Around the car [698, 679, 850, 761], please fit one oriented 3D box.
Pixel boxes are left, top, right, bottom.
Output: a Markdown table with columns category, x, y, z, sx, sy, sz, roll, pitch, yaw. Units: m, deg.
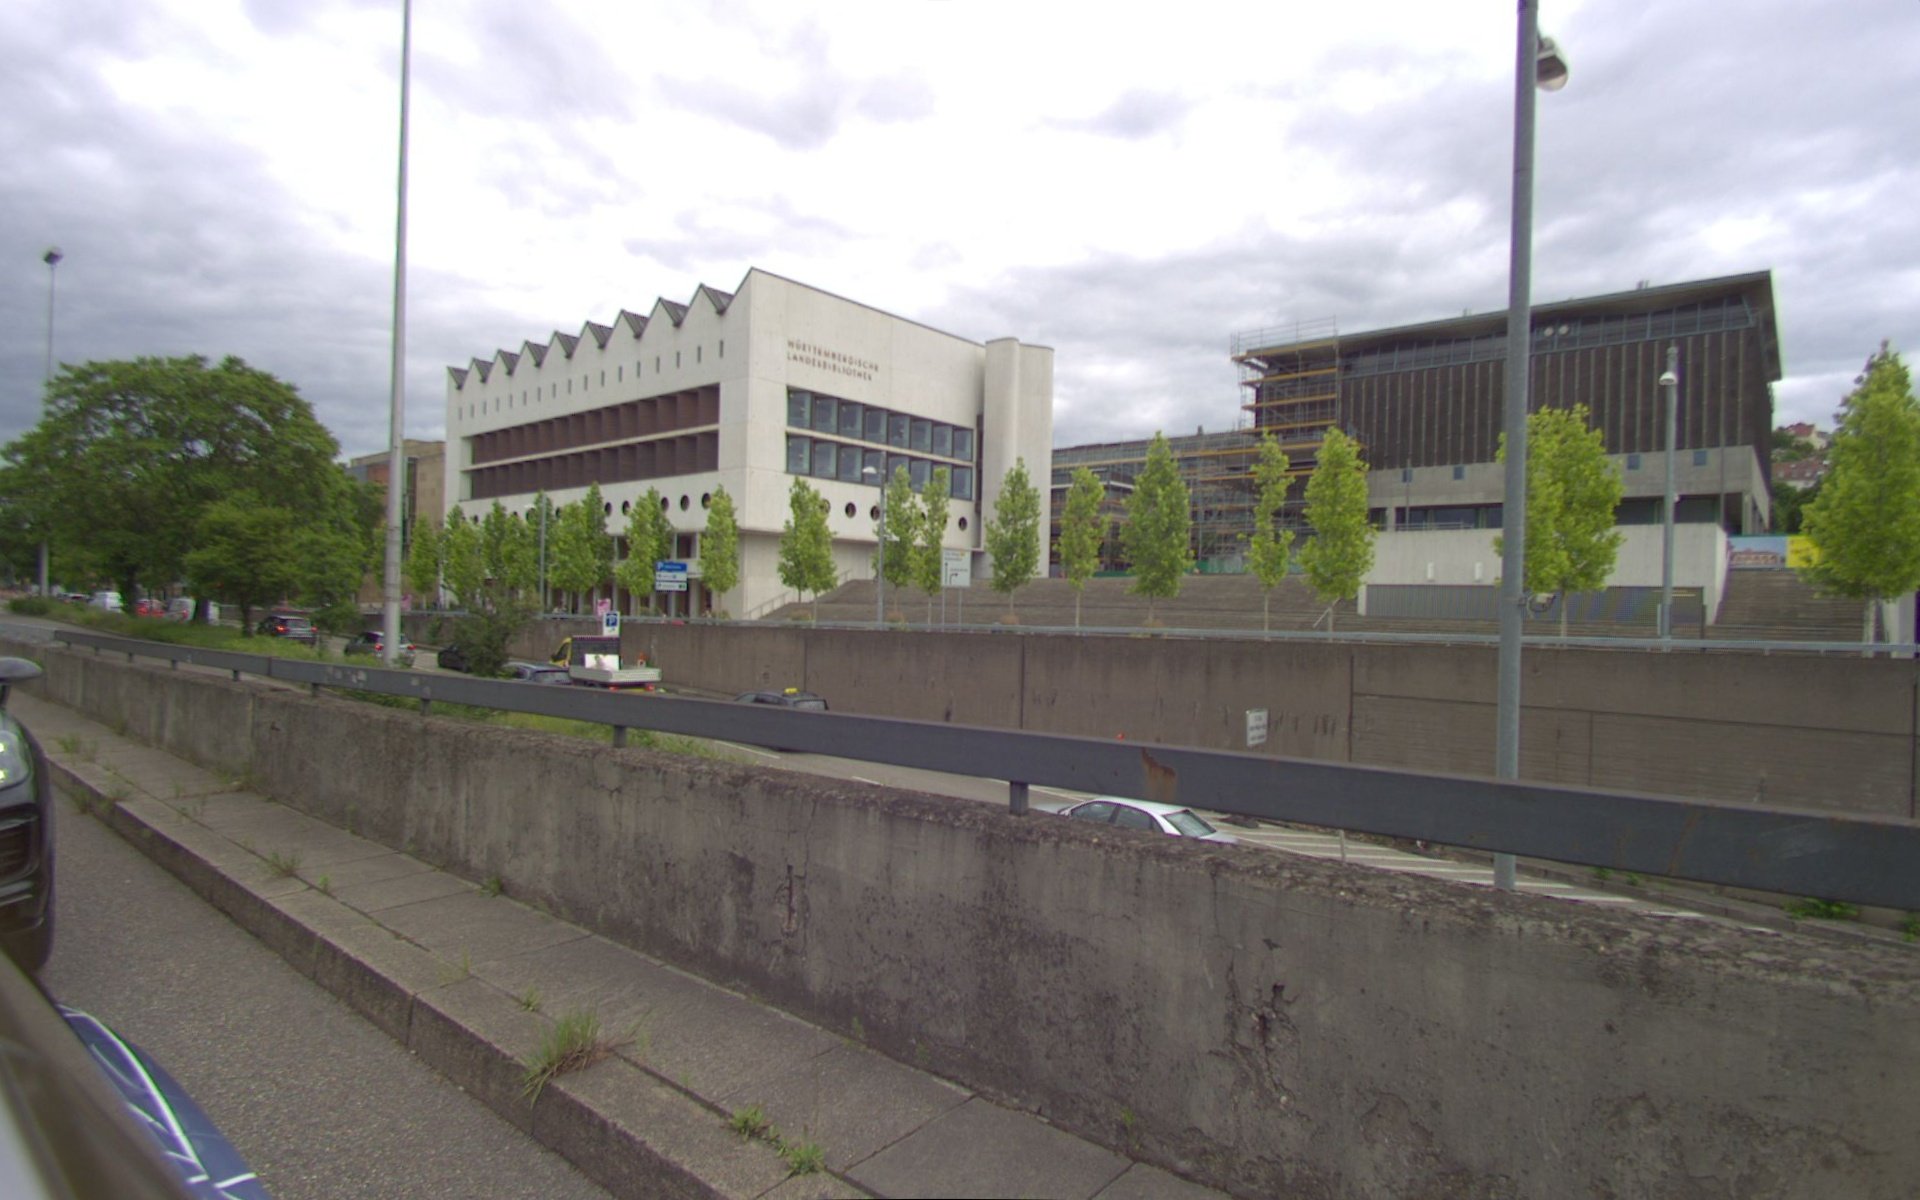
| category | x | y | z | sx | sy | sz | roll | pitch | yaw |
| --- | --- | --- | --- | --- | --- | --- | --- | --- | --- |
| car | -5.643 | 3.524 | 30.422 | 4.393 | 1.780 | 2.140 | 4 | 0 | 41 |

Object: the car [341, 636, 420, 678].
| category | x | y | z | sx | sy | sz | roll | pitch | yaw |
| --- | --- | --- | --- | --- | --- | --- | --- | --- | --- |
| car | -25.321 | 2.457 | 44.166 | 3.903 | 1.553 | 1.696 | 1 | 1 | 39 |

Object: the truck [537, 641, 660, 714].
| category | x | y | z | sx | sy | sz | roll | pitch | yaw |
| --- | --- | --- | --- | --- | --- | --- | --- | --- | --- |
| truck | -13.609 | 2.801 | 37.892 | 5.380 | 2.419 | 2.158 | -2 | -1 | 44 |

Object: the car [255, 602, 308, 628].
| category | x | y | z | sx | sy | sz | roll | pitch | yaw |
| --- | --- | --- | --- | --- | --- | --- | --- | --- | --- |
| car | -51.853 | 1.152 | 77.335 | 4.732 | 1.869 | 2.152 | -1 | -2 | 40 |

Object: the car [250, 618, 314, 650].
| category | x | y | z | sx | sy | sz | roll | pitch | yaw |
| --- | --- | --- | --- | --- | --- | --- | --- | --- | --- |
| car | -35.306 | 1.747 | 52.673 | 3.999 | 1.560 | 1.855 | 0 | -1 | 42 |

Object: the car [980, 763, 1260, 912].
| category | x | y | z | sx | sy | sz | roll | pitch | yaw |
| --- | --- | --- | --- | --- | --- | --- | --- | --- | --- |
| car | 2.915 | 4.300 | 19.069 | 4.837 | 1.582 | 2.157 | 1 | 2 | 41 |

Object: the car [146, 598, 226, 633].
| category | x | y | z | sx | sy | sz | roll | pitch | yaw |
| --- | --- | --- | --- | --- | --- | --- | --- | --- | --- |
| car | -47.881 | 0.970 | 62.580 | 5.097 | 2.029 | 2.202 | -1 | -1 | 31 |

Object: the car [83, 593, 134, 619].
| category | x | y | z | sx | sy | sz | roll | pitch | yaw |
| --- | --- | --- | --- | --- | --- | --- | --- | --- | --- |
| car | -63.576 | 0.434 | 75.532 | 5.247 | 1.651 | 1.973 | 2 | -5 | 41 |

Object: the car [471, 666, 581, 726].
| category | x | y | z | sx | sy | sz | roll | pitch | yaw |
| --- | --- | --- | --- | --- | --- | --- | --- | --- | --- |
| car | -14.694 | 3.184 | 34.190 | 4.167 | 1.582 | 1.792 | 1 | 2 | 41 |

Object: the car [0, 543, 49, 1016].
| category | x | y | z | sx | sy | sz | roll | pitch | yaw |
| --- | --- | --- | --- | --- | --- | --- | --- | --- | --- |
| car | -5.521 | 0.600 | 4.464 | 4.733 | 1.602 | 1.879 | 0 | 0 | 44 |

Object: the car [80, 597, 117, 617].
| category | x | y | z | sx | sy | sz | roll | pitch | yaw |
| --- | --- | --- | --- | --- | --- | --- | --- | --- | --- |
| car | -81.990 | 0.688 | 96.313 | 3.998 | 1.776 | 1.973 | 0 | -3 | 41 |

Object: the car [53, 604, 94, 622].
| category | x | y | z | sx | sy | sz | roll | pitch | yaw |
| --- | --- | --- | --- | --- | --- | --- | --- | --- | --- |
| car | -74.491 | 1.077 | 85.011 | 3.998 | 1.409 | 1.973 | 0 | -4 | 41 |

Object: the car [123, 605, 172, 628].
| category | x | y | z | sx | sy | sz | roll | pitch | yaw |
| --- | --- | --- | --- | --- | --- | --- | --- | --- | --- |
| car | -55.396 | 1.145 | 68.998 | 3.999 | 1.497 | 1.972 | -1 | -2 | 42 |
